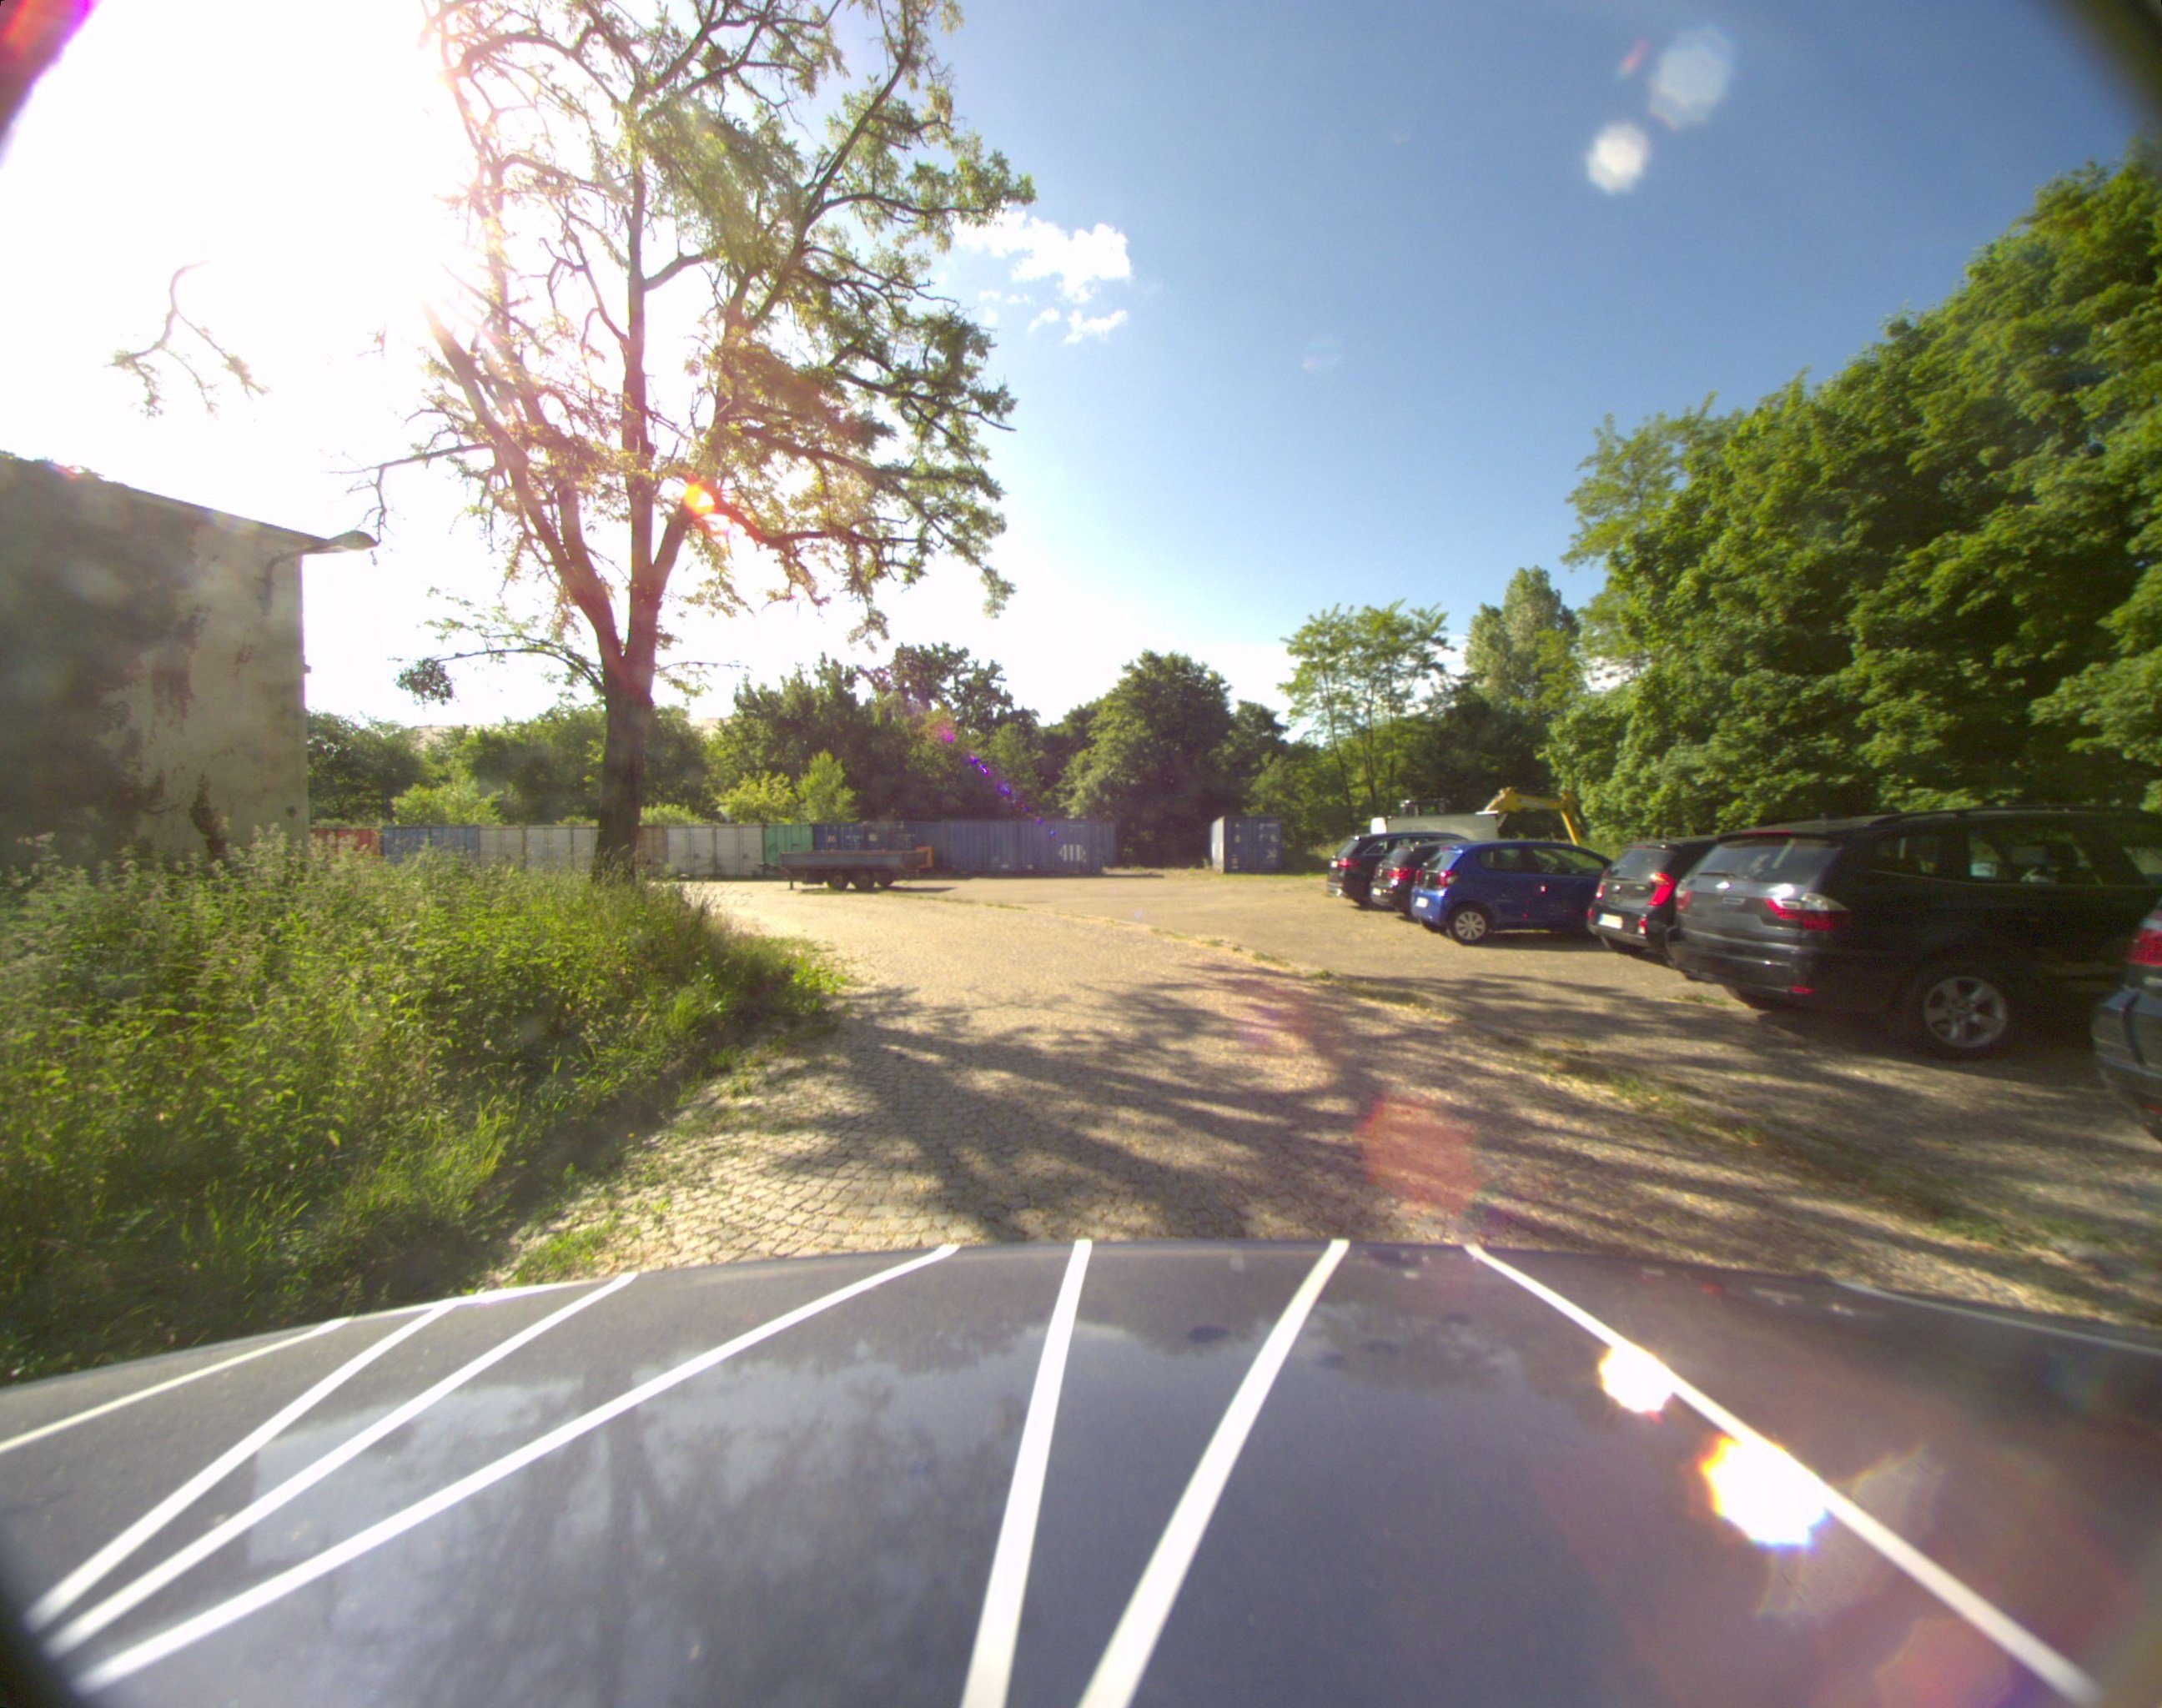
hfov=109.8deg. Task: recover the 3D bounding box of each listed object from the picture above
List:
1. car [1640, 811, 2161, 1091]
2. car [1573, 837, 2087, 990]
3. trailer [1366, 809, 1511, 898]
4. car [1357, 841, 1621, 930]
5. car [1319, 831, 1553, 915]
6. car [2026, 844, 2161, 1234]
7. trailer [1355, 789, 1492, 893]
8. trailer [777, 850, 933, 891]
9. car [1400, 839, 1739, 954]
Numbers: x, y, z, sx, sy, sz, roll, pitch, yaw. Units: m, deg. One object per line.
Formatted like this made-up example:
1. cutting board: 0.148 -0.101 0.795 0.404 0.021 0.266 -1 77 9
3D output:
1. car: 7.051 0.583 5.667 4.268 1.622 1.880 -3 2 4
2. car: 7.928 0.601 8.478 3.718 1.443 1.745 -2 2 13
3. trailer: 8.813 -0.023 18.934 2.846 2.039 1.825 -1 2 9
4. car: 7.207 0.527 13.789 3.785 1.403 1.896 -2 2 7
5. car: 7.415 0.369 16.274 4.125 1.581 1.971 -2 2 7
6. car: 6.531 0.645 2.536 4.269 1.580 1.830 -4 1 3
7. trailer: 9.391 -0.364 21.105 2.846 2.524 2.267 -4 2 9
8. trailer: -8.298 0.572 28.264 4.855 1.406 2.650 0 2 7
9. car: 6.931 0.583 11.163 3.784 1.450 1.786 -2 2 8
